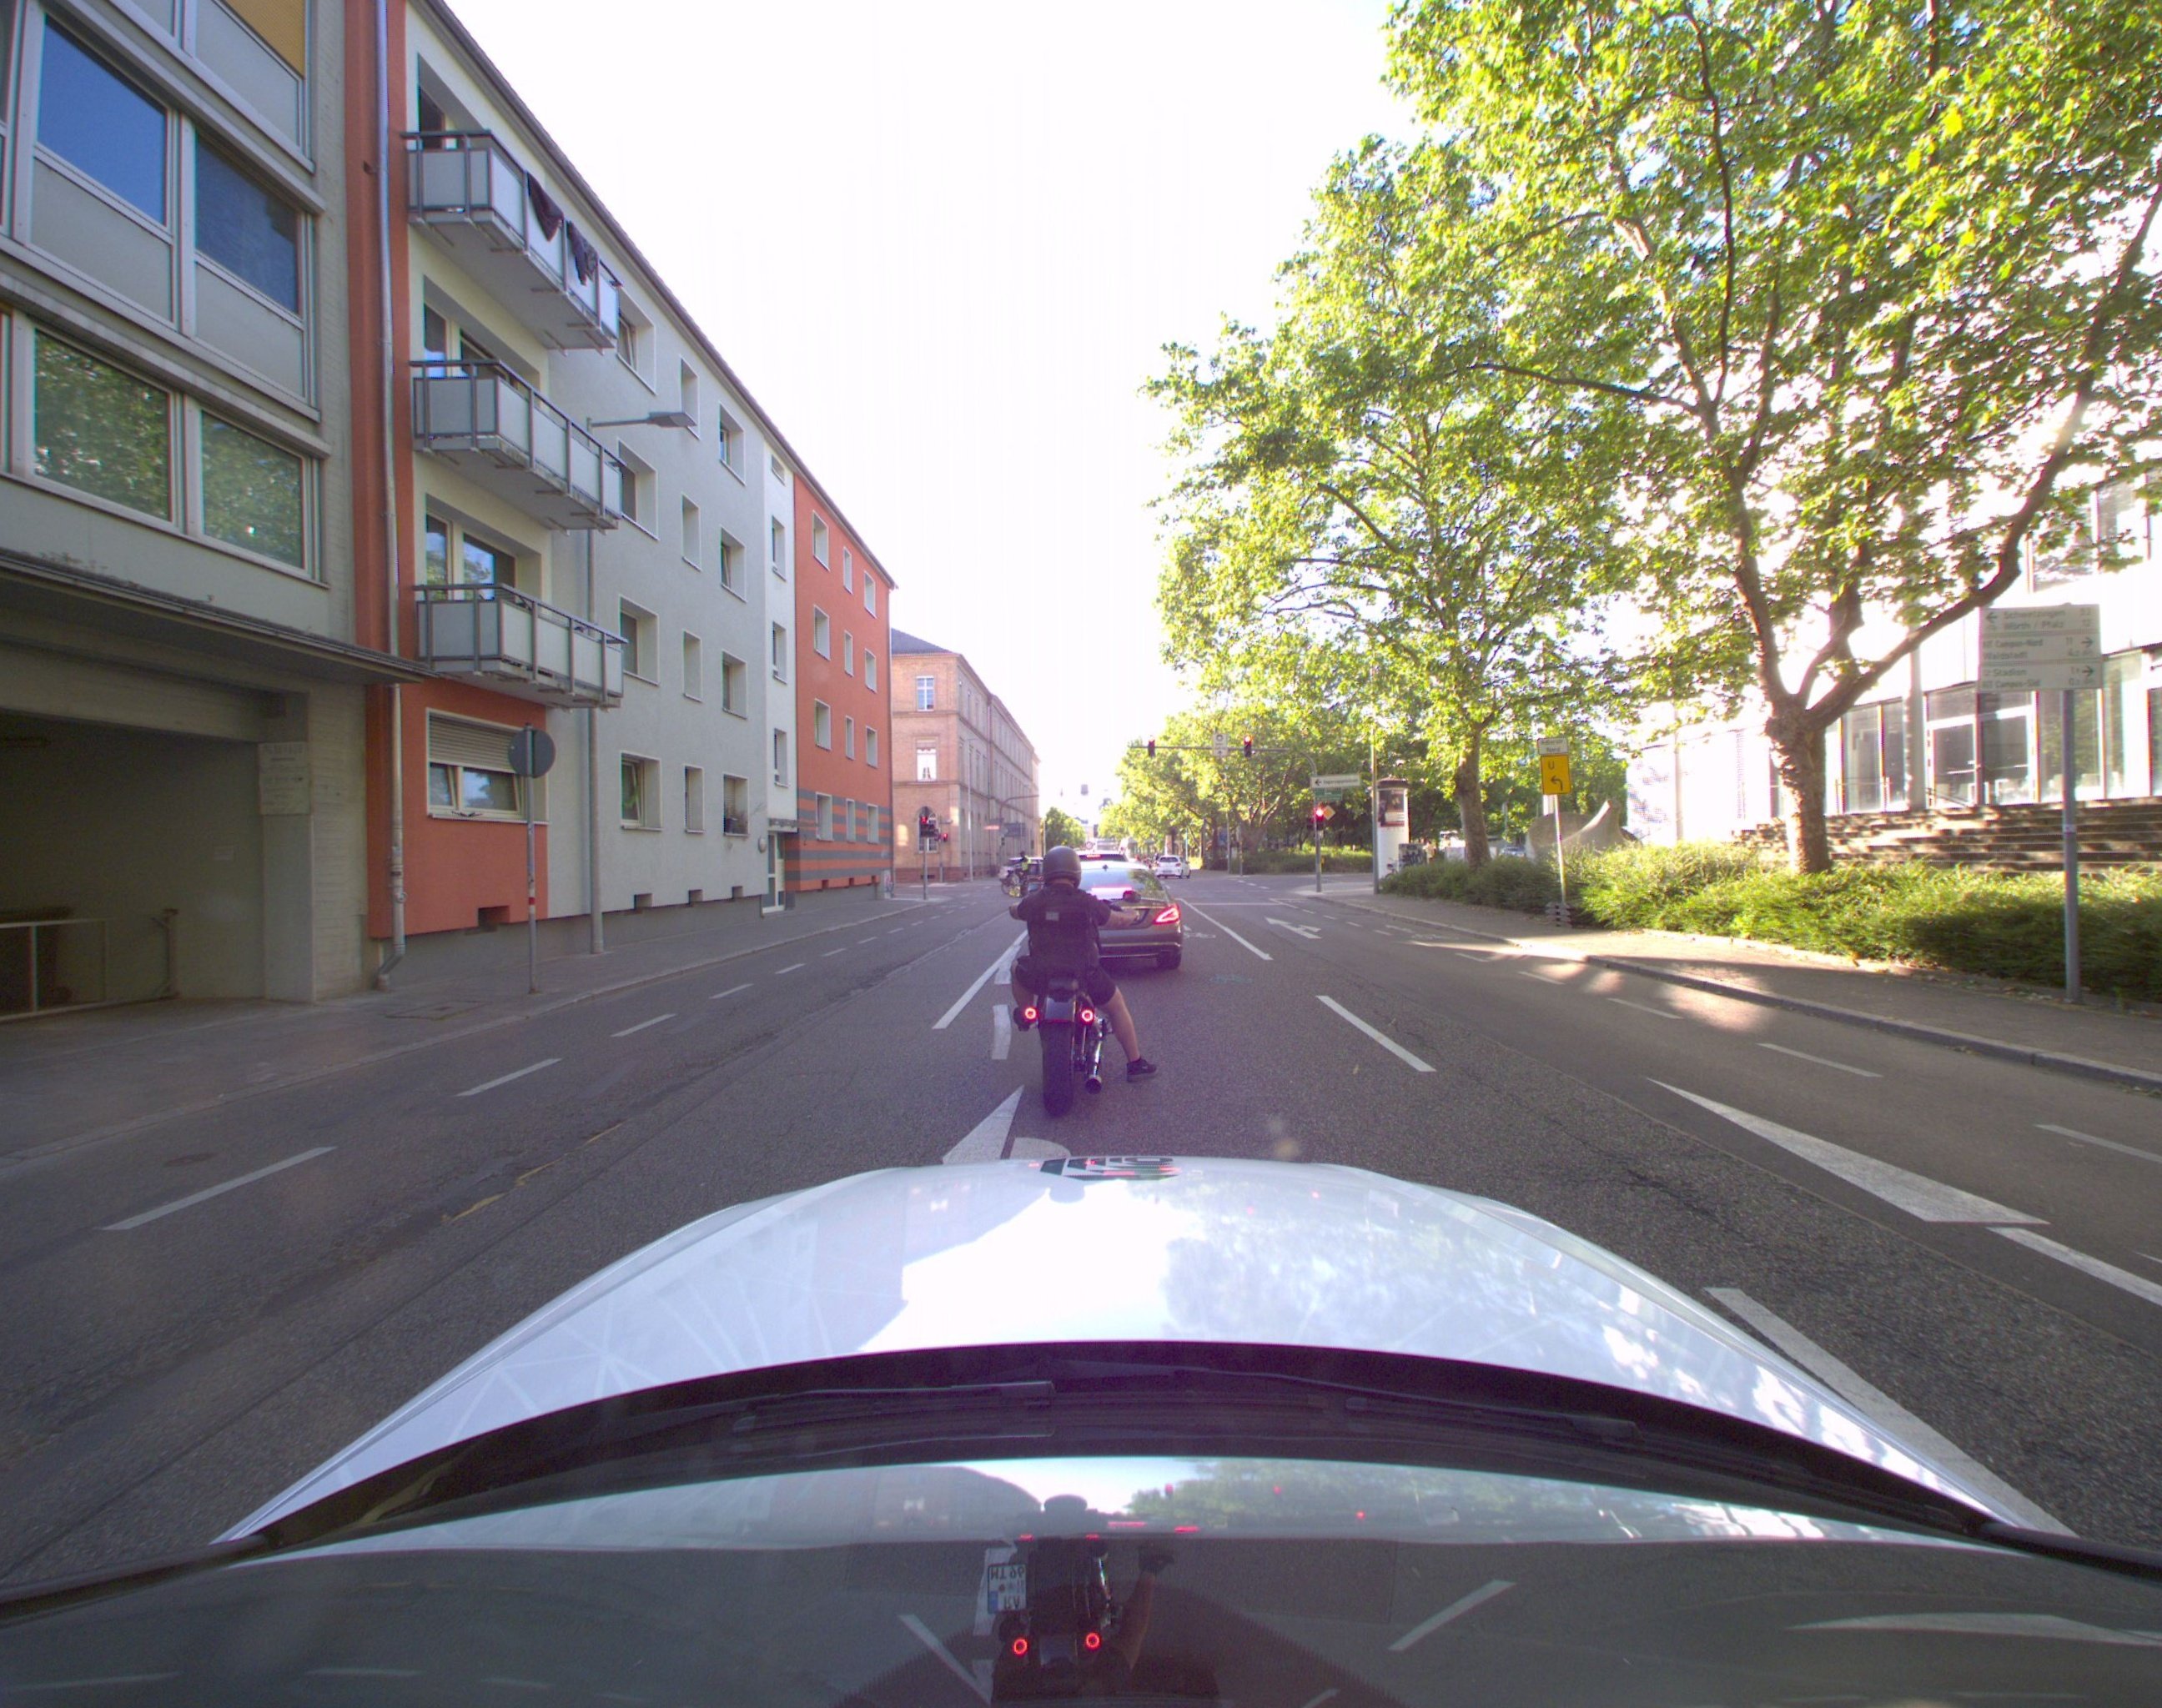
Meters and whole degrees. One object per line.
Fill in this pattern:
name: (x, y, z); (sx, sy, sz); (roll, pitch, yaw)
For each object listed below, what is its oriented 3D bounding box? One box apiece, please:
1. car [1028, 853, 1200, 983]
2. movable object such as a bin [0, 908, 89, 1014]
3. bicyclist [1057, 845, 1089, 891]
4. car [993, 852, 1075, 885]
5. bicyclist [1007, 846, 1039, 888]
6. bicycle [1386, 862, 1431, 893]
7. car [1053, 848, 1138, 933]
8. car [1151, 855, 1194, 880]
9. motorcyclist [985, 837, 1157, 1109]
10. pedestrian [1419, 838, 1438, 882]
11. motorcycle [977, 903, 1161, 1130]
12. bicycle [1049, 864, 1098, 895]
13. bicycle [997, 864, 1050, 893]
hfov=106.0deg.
car: (0.256, 0.749, 11.723); (1.943, 1.473, 4.355); (-1, 0, -5)
movable object such as a bin: (-11.317, 1.121, 8.686); (0.593, 1.041, 0.703); (0, -1, 1)
bicyclist: (-0.290, 0.520, 30.869); (0.952, 1.692, 0.710); (-2, 0, 42)
car: (-2.434, 0.730, 42.317); (3.905, 1.481, 1.817); (-2, -1, -17)
bicyclist: (-2.357, 0.528, 33.064); (1.034, 1.695, 0.710); (-3, -1, 32)
bicycle: (11.059, 0.799, 27.529); (1.346, 1.023, 0.363); (-1, 0, 2)
car: (0.320, 0.713, 17.893); (1.606, 1.607, 4.329); (-1, 0, 1)
car: (5.714, 0.836, 50.467); (1.840, 1.486, 3.927); (-1, -1, 19)
motorcyclist: (-0.037, 0.705, 5.532); (0.986, 1.597, 1.404); (-1, 0, 2)
pedestrian: (14.903, 0.247, 34.922); (0.549, 1.849, 0.594); (-1, 0, 3)
motorcycle: (-0.029, 0.964, 5.685); (0.986, 1.078, 2.453); (-1, 0, 2)
bicycle: (-0.294, 0.967, 30.868); (1.856, 1.103, 0.710); (-2, 0, 43)
bicycle: (-2.342, 1.004, 33.053); (2.135, 1.103, 0.710); (-3, -1, 32)
